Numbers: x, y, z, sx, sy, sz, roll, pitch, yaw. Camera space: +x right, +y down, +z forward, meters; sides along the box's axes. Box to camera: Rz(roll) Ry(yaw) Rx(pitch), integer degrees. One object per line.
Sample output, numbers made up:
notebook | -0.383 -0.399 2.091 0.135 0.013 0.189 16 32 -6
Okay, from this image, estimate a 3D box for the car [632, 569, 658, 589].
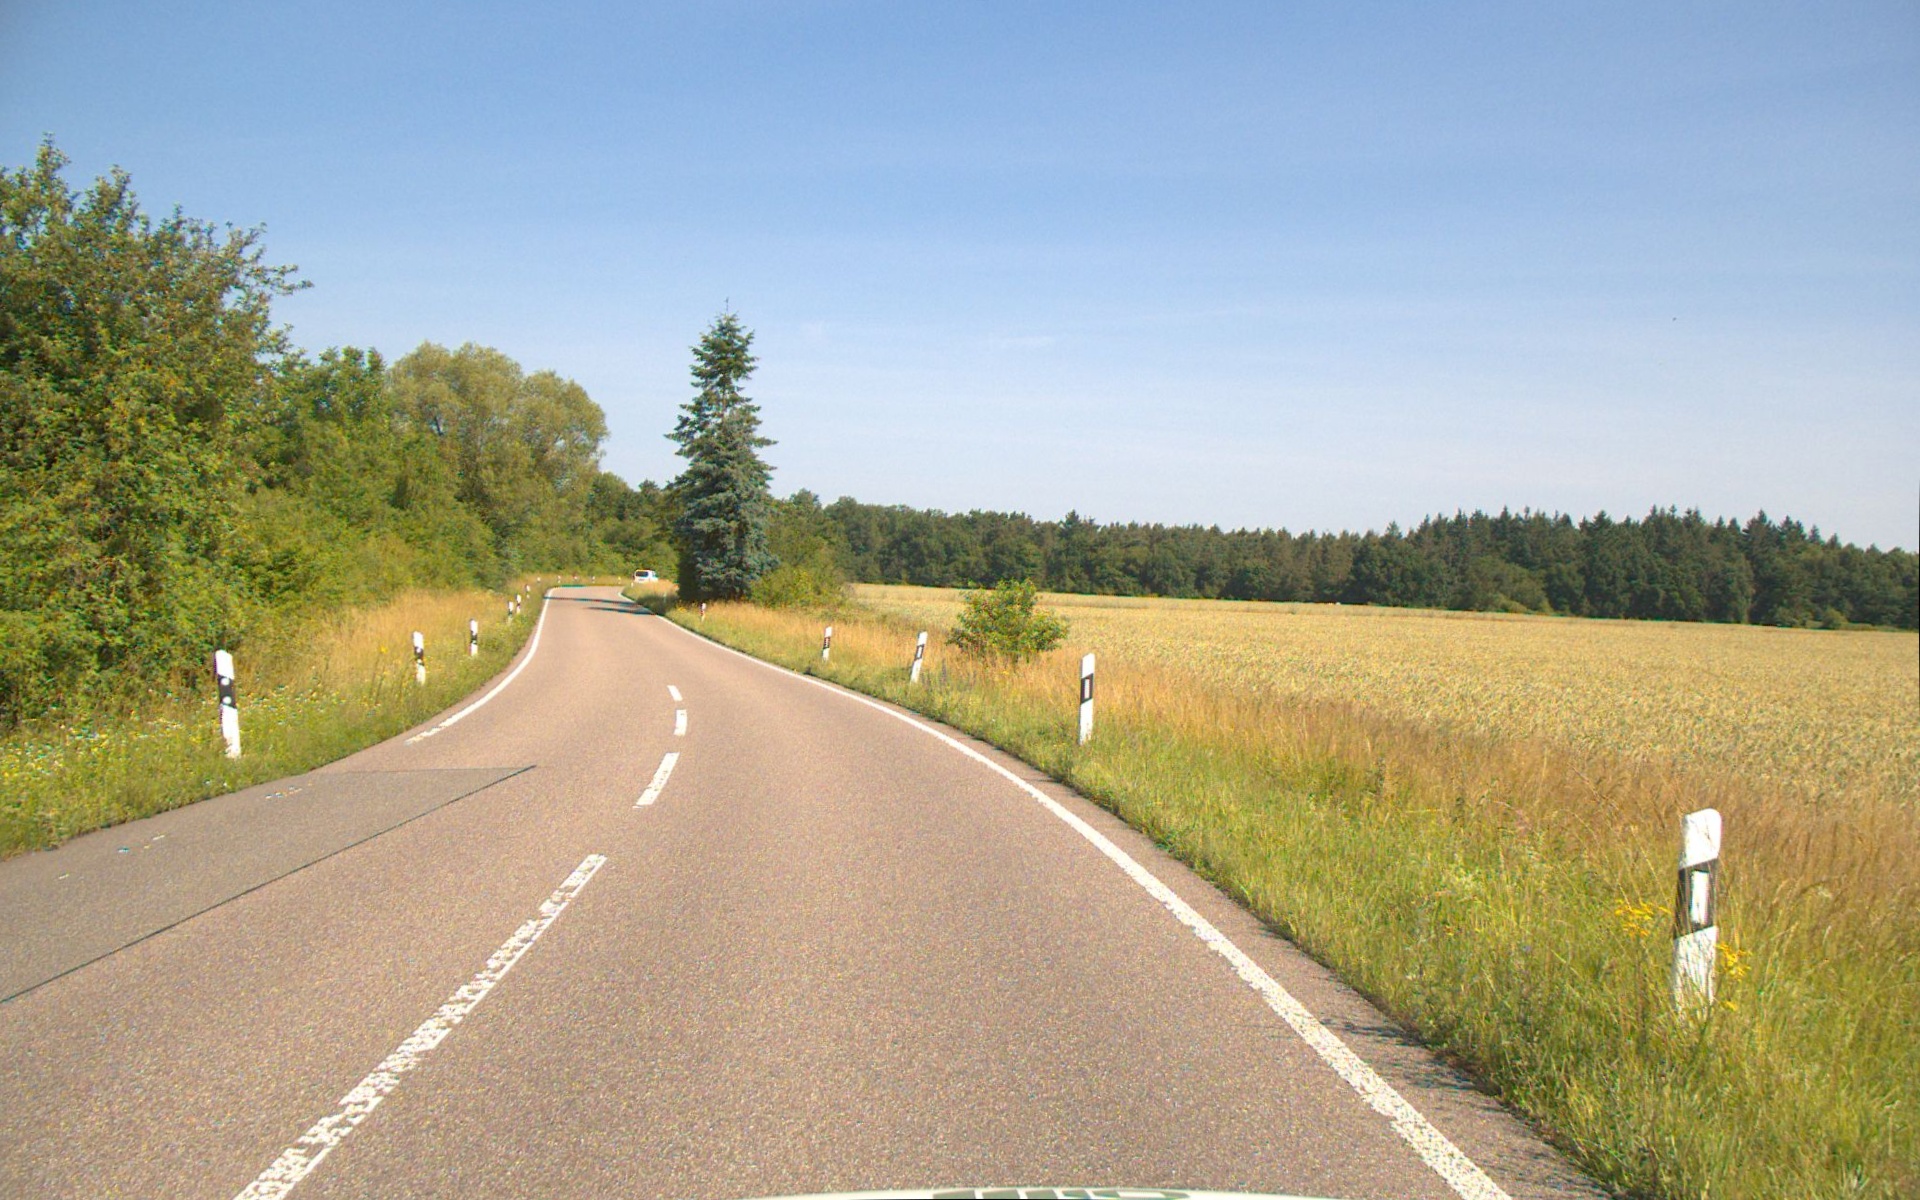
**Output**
car | -33.088 -2.230 173.787 1.923 1.833 4.161 5 1 -1
